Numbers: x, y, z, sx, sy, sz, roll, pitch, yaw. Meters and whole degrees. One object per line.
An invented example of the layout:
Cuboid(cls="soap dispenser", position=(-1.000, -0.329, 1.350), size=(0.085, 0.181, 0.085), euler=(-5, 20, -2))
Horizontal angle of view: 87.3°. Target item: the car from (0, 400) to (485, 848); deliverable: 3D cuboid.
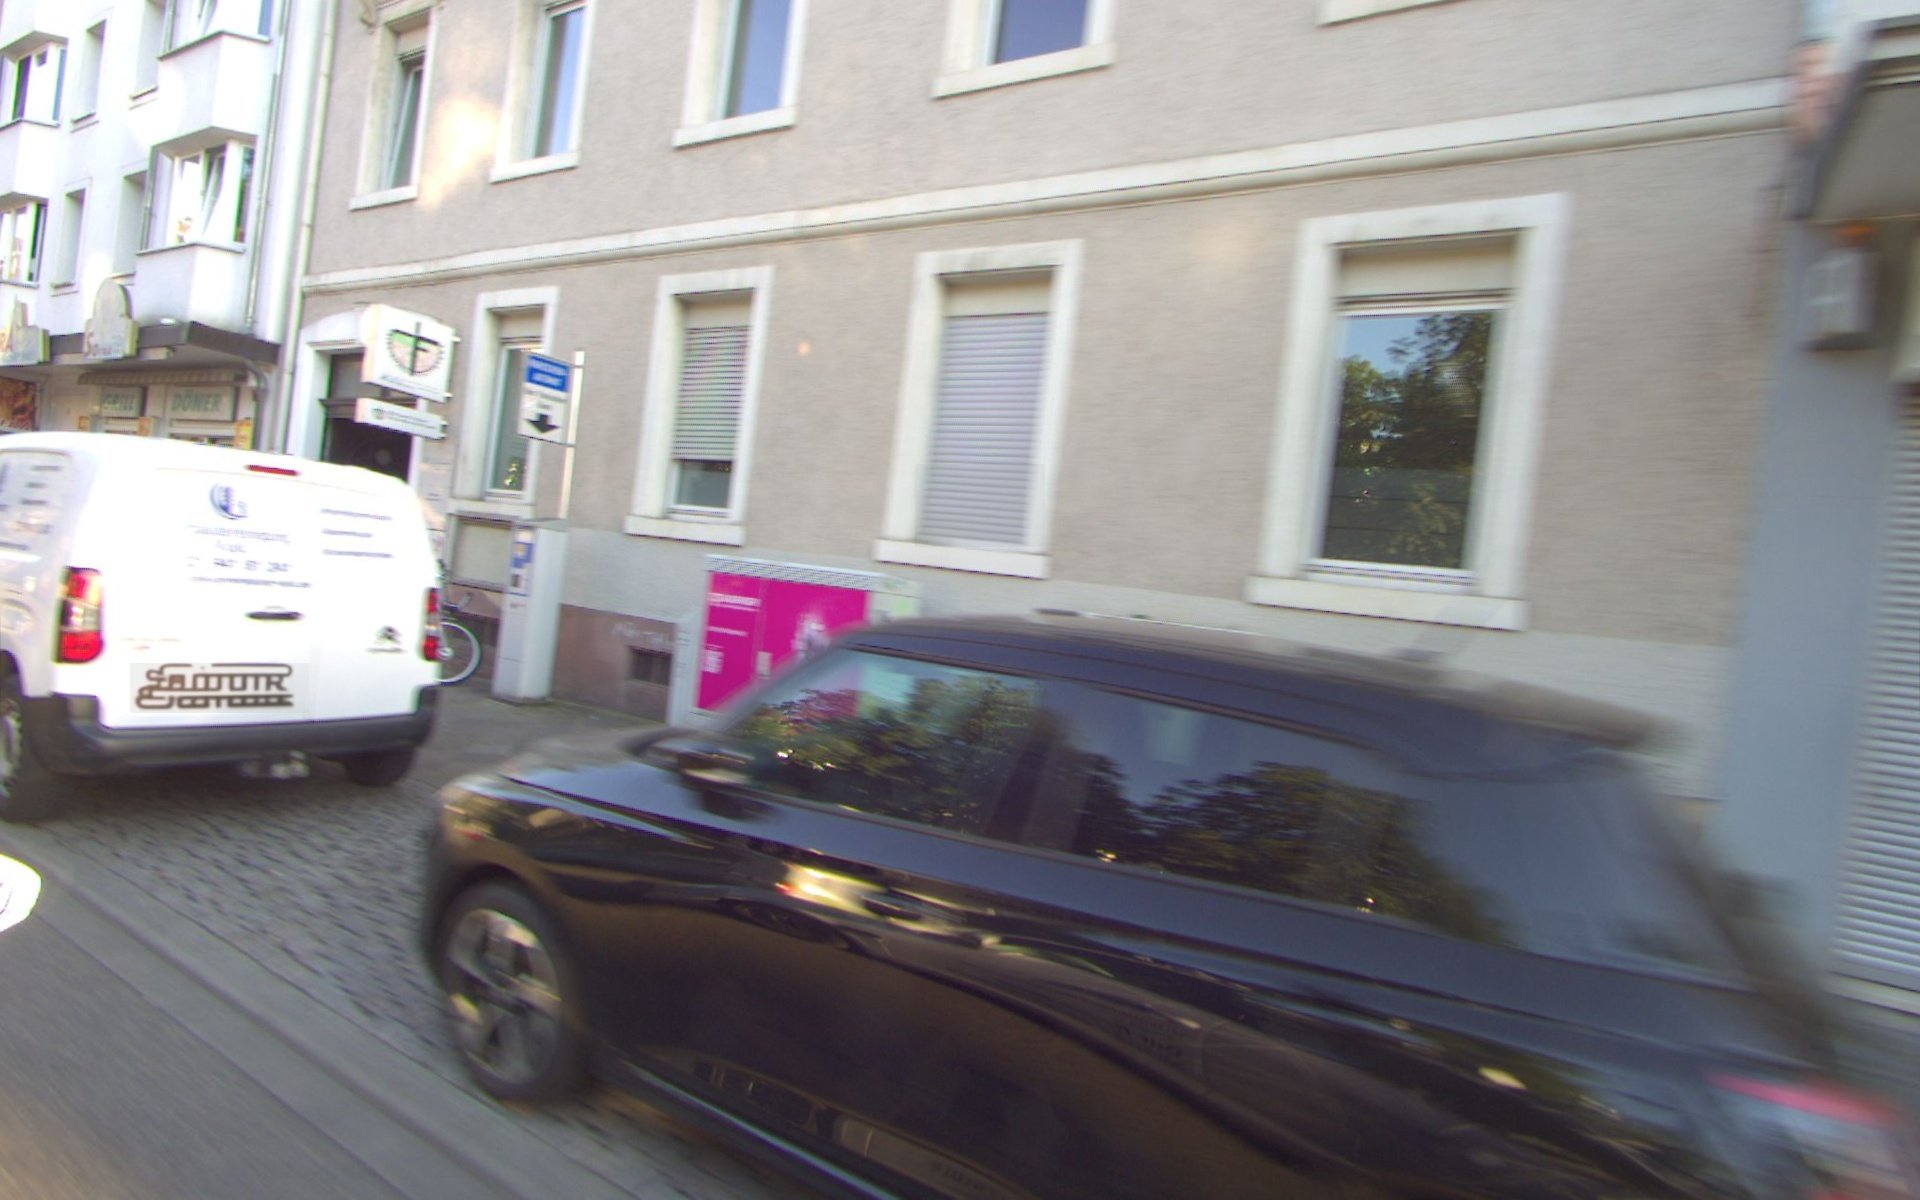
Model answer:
Cuboid(cls="car", position=(-4.969, -0.044, 6.009), size=(4.235, 1.856, 1.712), euler=(7, -1, 33))

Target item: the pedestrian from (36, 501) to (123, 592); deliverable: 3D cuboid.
Cuboid(cls="pedestrian", position=(-12.944, -0.792, 14.810), size=(0.734, 1.236, 0.785), euler=(6, 3, -28))

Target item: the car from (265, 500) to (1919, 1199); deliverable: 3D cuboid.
Cuboid(cls="car", position=(-0.058, 0.752, 2.888), size=(3.818, 1.562, 1.670), euler=(8, -1, 32))

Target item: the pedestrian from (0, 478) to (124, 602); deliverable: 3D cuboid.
Cuboid(cls="pedestrian", position=(-12.409, -0.820, 13.872), size=(0.976, 1.504, 0.957), euler=(8, -1, 31))

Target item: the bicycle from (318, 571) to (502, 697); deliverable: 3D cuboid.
Cuboid(cls="bicycle", position=(-5.400, 0.328, 9.873), size=(1.680, 1.024, 0.457), euler=(6, -1, 18))
